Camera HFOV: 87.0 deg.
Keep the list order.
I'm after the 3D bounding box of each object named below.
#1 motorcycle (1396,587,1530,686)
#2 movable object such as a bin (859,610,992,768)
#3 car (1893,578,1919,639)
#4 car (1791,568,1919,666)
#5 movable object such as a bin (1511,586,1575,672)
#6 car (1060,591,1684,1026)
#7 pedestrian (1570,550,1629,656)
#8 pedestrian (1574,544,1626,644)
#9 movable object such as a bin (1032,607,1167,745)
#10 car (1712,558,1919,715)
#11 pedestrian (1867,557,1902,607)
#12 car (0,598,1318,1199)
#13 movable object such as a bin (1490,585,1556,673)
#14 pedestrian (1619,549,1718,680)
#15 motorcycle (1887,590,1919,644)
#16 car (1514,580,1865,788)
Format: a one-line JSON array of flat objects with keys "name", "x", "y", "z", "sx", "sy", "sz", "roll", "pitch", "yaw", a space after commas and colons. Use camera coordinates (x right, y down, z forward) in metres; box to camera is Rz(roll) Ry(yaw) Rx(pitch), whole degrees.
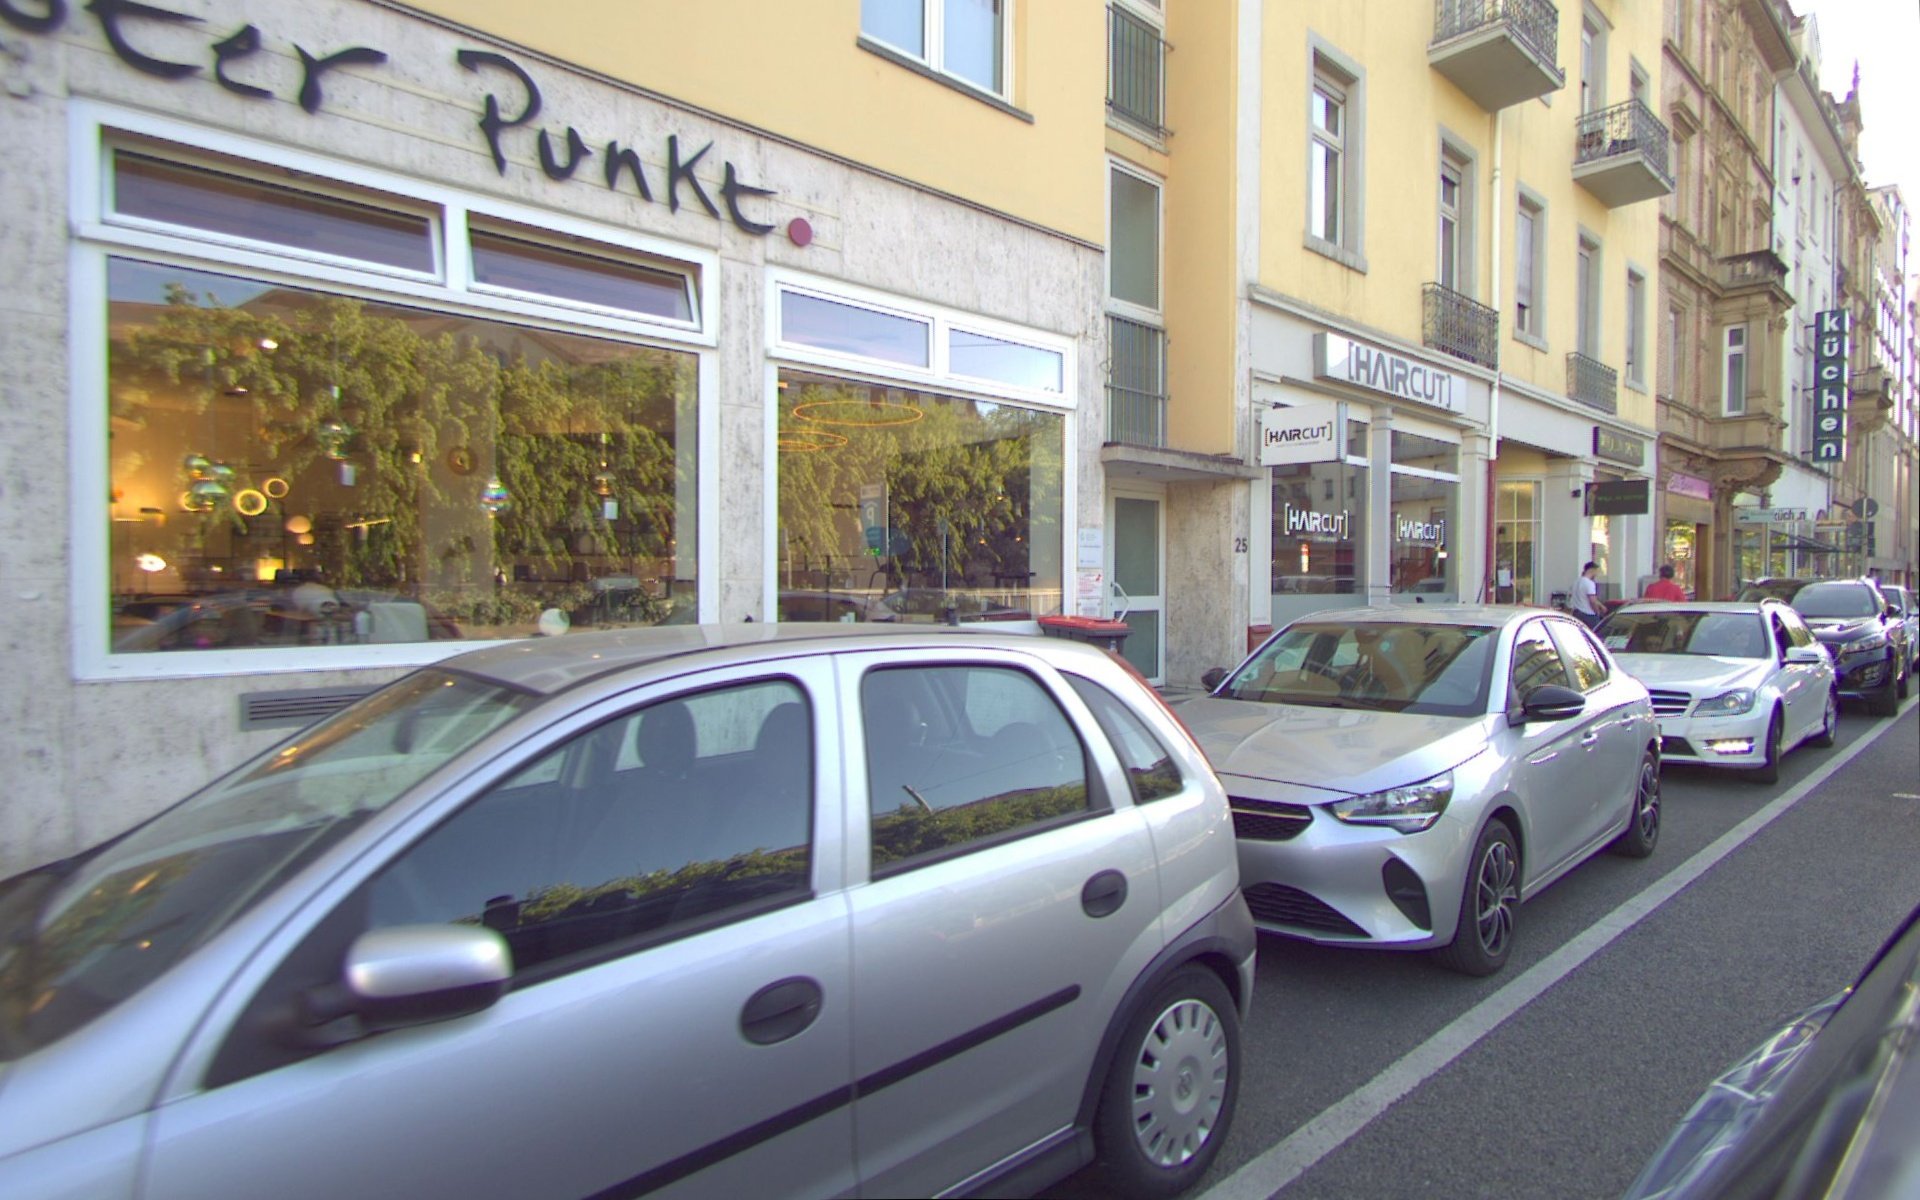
[{"name": "motorcycle", "x": 6.749, "y": 0.435, "z": 13.524, "sx": 2.208, "sy": 1.179, "sz": 0.773, "roll": -1, "pitch": 4, "yaw": -41}, {"name": "movable object such as a bin", "x": -0.259, "y": 0.607, "z": 7.369, "sx": 0.591, "sy": 1.041, "sz": 0.811, "roll": -1, "pitch": 1, "yaw": -40}, {"name": "car", "x": 25.538, "y": 0.185, "z": 26.186, "sx": 3.932, "sy": 1.504, "sz": 1.713, "roll": -1, "pitch": 1, "yaw": -42}, {"name": "car", "x": 16.232, "y": 0.250, "z": 18.056, "sx": 2.965, "sy": 1.587, "sz": 1.695, "roll": -1, "pitch": 1, "yaw": -41}, {"name": "movable object such as a bin", "x": 8.573, "y": 0.413, "z": 14.890, "sx": 0.633, "sy": 1.222, "sz": 0.647, "roll": 0, "pitch": 0, "yaw": -41}, {"name": "car", "x": 2.333, "y": 0.678, "z": 5.232, "sx": 3.644, "sy": 1.415, "sz": 1.651, "roll": -1, "pitch": 1, "yaw": -44}, {"name": "pedestrian", "x": 10.157, "y": 0.034, "z": 16.074, "sx": 0.689, "sy": 1.637, "sz": 0.641, "roll": -1, "pitch": 0, "yaw": -42}, {"name": "pedestrian", "x": 10.749, "y": -0.104, "z": 16.995, "sx": 0.631, "sy": 1.637, "sz": 0.572, "roll": -1, "pitch": 0, "yaw": -40}, {"name": "movable object such as a bin", "x": 1.183, "y": 0.605, "z": 8.593, "sx": 0.878, "sy": 1.066, "sz": 0.752, "roll": -1, "pitch": 1, "yaw": -41}, {"name": "car", "x": 11.527, "y": 0.360, "z": 13.453, "sx": 1.853, "sy": 1.719, "sz": 4.623, "roll": 0, "pitch": 1, "yaw": 45}, {"name": "pedestrian", "x": 31.103, "y": -0.597, "z": 34.045, "sx": 0.750, "sy": 1.637, "sz": 0.794, "roll": -1, "pitch": 0, "yaw": -43}, {"name": "car", "x": -0.894, "y": 0.733, "z": 2.286, "sx": 3.578, "sy": 1.399, "sz": 1.616, "roll": -1, "pitch": 0, "yaw": -40}, {"name": "movable object such as a bin", "x": 8.063, "y": 0.401, "z": 14.500, "sx": 0.633, "sy": 1.222, "sz": 0.647, "roll": 0, "pitch": 0, "yaw": -41}, {"name": "pedestrian", "x": 10.362, "y": 0.175, "z": 14.799, "sx": 0.991, "sy": 1.805, "sz": 0.866, "roll": -2, "pitch": 5, "yaw": -41}, {"name": "motorcycle", "x": 22.698, "y": 0.383, "z": 23.549, "sx": 1.514, "sy": 1.248, "sz": 0.771, "roll": 0, "pitch": 0, "yaw": 1}, {"name": "car", "x": 6.932, "y": 0.564, "z": 9.405, "sx": 4.520, "sy": 1.480, "sz": 1.756, "roll": -1, "pitch": 1, "yaw": -42}]
